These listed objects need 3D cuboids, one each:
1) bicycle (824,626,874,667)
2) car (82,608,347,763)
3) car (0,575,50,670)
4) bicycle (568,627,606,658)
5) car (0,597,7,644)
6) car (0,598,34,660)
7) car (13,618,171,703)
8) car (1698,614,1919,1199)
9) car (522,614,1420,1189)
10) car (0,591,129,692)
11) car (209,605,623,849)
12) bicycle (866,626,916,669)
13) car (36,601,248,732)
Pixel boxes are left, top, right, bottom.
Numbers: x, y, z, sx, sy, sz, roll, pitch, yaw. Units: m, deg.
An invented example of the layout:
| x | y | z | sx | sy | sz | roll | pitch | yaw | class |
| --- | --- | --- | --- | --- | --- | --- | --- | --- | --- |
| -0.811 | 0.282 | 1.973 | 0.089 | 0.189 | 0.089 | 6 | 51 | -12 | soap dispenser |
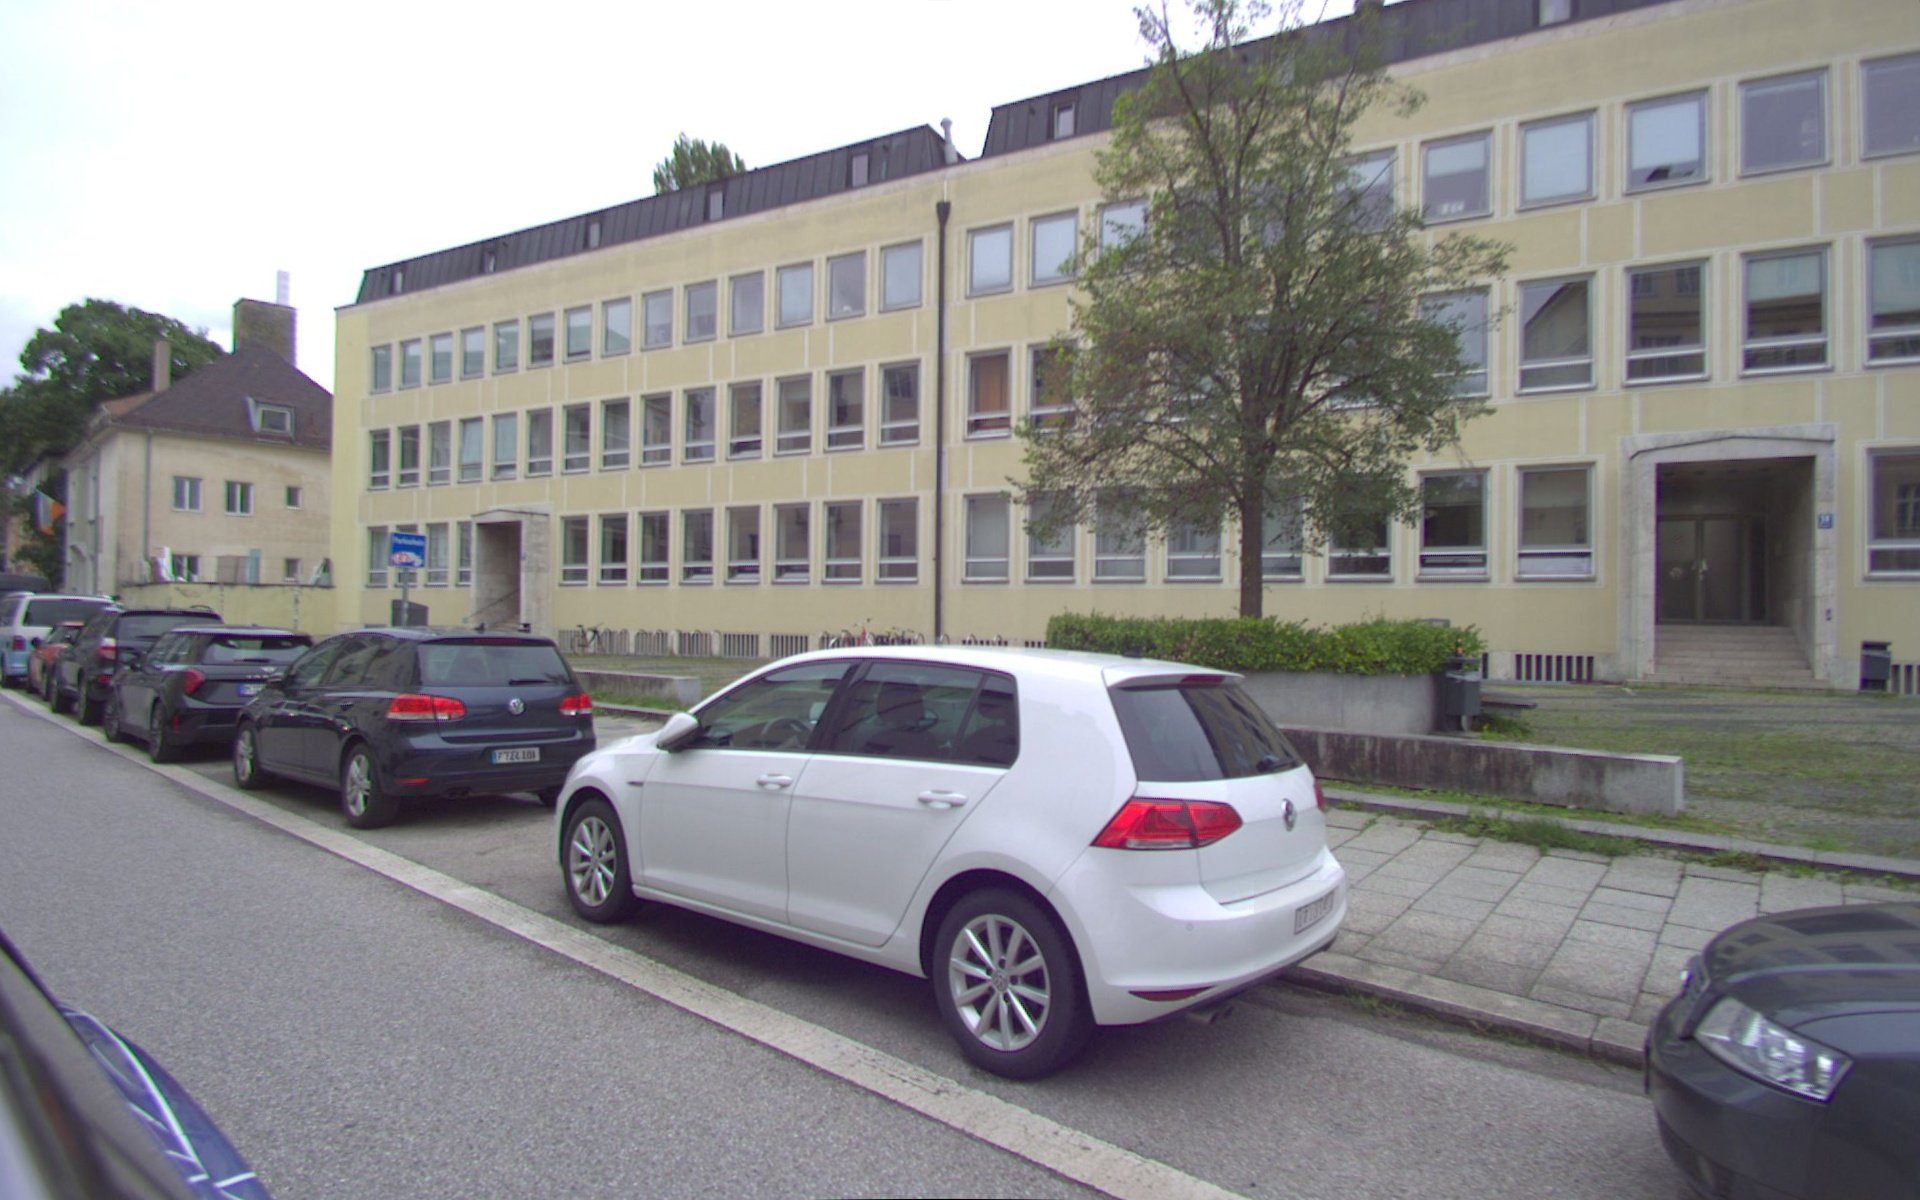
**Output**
| x | y | z | sx | sy | sz | roll | pitch | yaw | class |
| --- | --- | --- | --- | --- | --- | --- | --- | --- | --- |
| -2.951 | 1.223 | 27.107 | 0.388 | 0.996 | 1.721 | 0 | 1 | 31 | bicycle |
| -8.773 | 0.856 | 11.812 | 3.684 | 1.478 | 1.722 | 0 | 1 | 41 | car |
| -29.471 | 0.653 | 30.908 | 4.959 | 2.737 | 1.972 | 0 | 1 | 42 | car |
| -11.573 | 1.310 | 31.394 | 0.287 | 0.909 | 1.232 | 0 | 1 | 27 | bicycle |
| -45.817 | 0.930 | 46.792 | 4.959 | 2.098 | 2.186 | 0 | 1 | 42 | car |
| -34.295 | 0.984 | 35.516 | 4.959 | 2.098 | 2.186 | 0 | 1 | 42 | car |
| -16.419 | 1.094 | 19.105 | 3.454 | 1.415 | 1.722 | 0 | -2 | 41 | car |
| 3.568 | 0.808 | 1.269 | 4.201 | 1.492 | 1.704 | 0 | -3 | 39 | car |
| -0.206 | 0.878 | 4.729 | 3.996 | 1.541 | 1.704 | 0 | -3 | 39 | car |
| -19.875 | 0.858 | 22.030 | 4.352 | 1.991 | 1.924 | 0 | -2 | 40 | car |
| -4.771 | 0.845 | 8.631 | 4.079 | 1.557 | 1.723 | 0 | 1 | 40 | car |
| -1.758 | 1.210 | 26.153 | 0.388 | 0.996 | 1.721 | 0 | 1 | 31 | bicycle |
| -12.356 | 0.898 | 15.194 | 4.120 | 1.701 | 1.722 | 0 | -2 | 41 | car |
